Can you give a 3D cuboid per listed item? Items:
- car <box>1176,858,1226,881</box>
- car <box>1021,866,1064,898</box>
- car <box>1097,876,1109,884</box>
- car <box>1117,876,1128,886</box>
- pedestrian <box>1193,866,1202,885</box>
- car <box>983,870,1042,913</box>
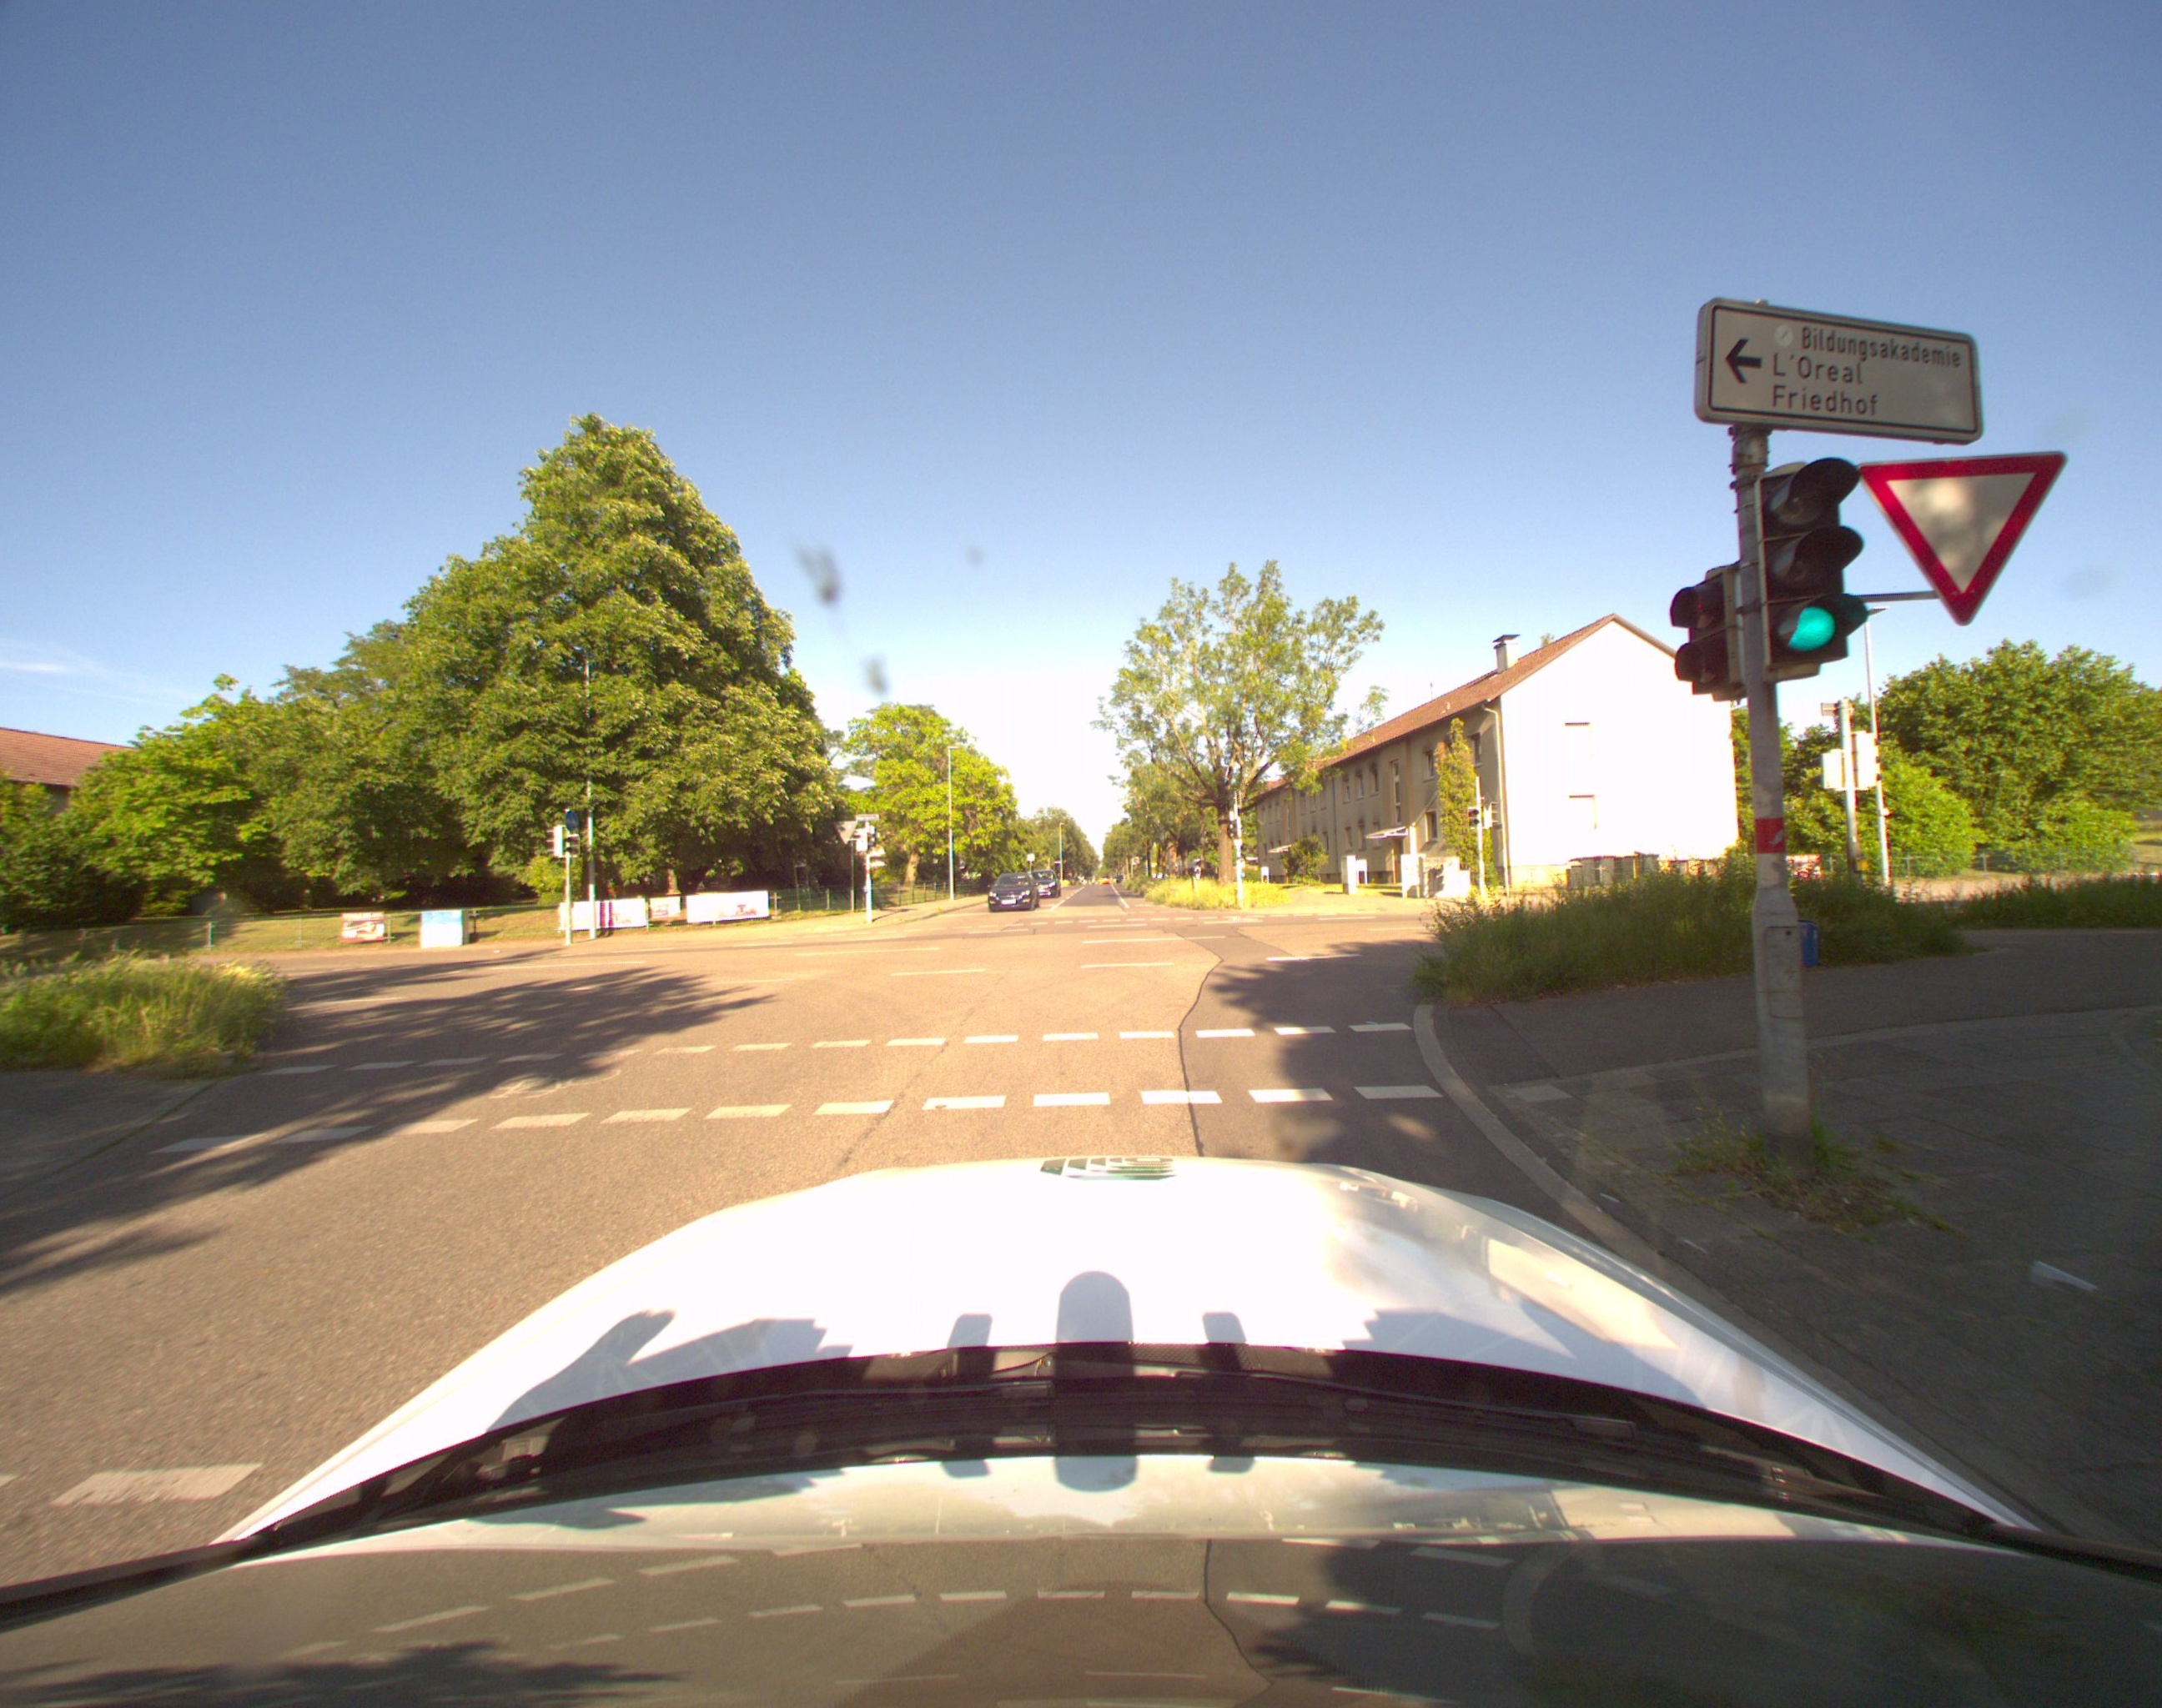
[{"bbox_3d":[14.374,1.847,97.802,5.581,2.539,2.263,-2,-2,-3],"label":"car"},{"bbox_3d":[-2.167,1.579,46.695,1.806,1.618,4.397,-4,-1,4],"label":"car"},{"bbox_3d":[3.844,4.638,143.991,1.883,1.479,3.884,0,-2,-2],"label":"car"},{"bbox_3d":[7.513,4.957,149.154,1.846,1.626,4.469,-3,-3,1],"label":"car"},{"bbox_3d":[10.603,1.938,74.078,0.635,1.706,0.612,-4,-1,0],"label":"pedestrian"},{"bbox_3d":[-2.579,1.445,31.434,1.800,1.455,3.850,-3,-2,1],"label":"car"}]
